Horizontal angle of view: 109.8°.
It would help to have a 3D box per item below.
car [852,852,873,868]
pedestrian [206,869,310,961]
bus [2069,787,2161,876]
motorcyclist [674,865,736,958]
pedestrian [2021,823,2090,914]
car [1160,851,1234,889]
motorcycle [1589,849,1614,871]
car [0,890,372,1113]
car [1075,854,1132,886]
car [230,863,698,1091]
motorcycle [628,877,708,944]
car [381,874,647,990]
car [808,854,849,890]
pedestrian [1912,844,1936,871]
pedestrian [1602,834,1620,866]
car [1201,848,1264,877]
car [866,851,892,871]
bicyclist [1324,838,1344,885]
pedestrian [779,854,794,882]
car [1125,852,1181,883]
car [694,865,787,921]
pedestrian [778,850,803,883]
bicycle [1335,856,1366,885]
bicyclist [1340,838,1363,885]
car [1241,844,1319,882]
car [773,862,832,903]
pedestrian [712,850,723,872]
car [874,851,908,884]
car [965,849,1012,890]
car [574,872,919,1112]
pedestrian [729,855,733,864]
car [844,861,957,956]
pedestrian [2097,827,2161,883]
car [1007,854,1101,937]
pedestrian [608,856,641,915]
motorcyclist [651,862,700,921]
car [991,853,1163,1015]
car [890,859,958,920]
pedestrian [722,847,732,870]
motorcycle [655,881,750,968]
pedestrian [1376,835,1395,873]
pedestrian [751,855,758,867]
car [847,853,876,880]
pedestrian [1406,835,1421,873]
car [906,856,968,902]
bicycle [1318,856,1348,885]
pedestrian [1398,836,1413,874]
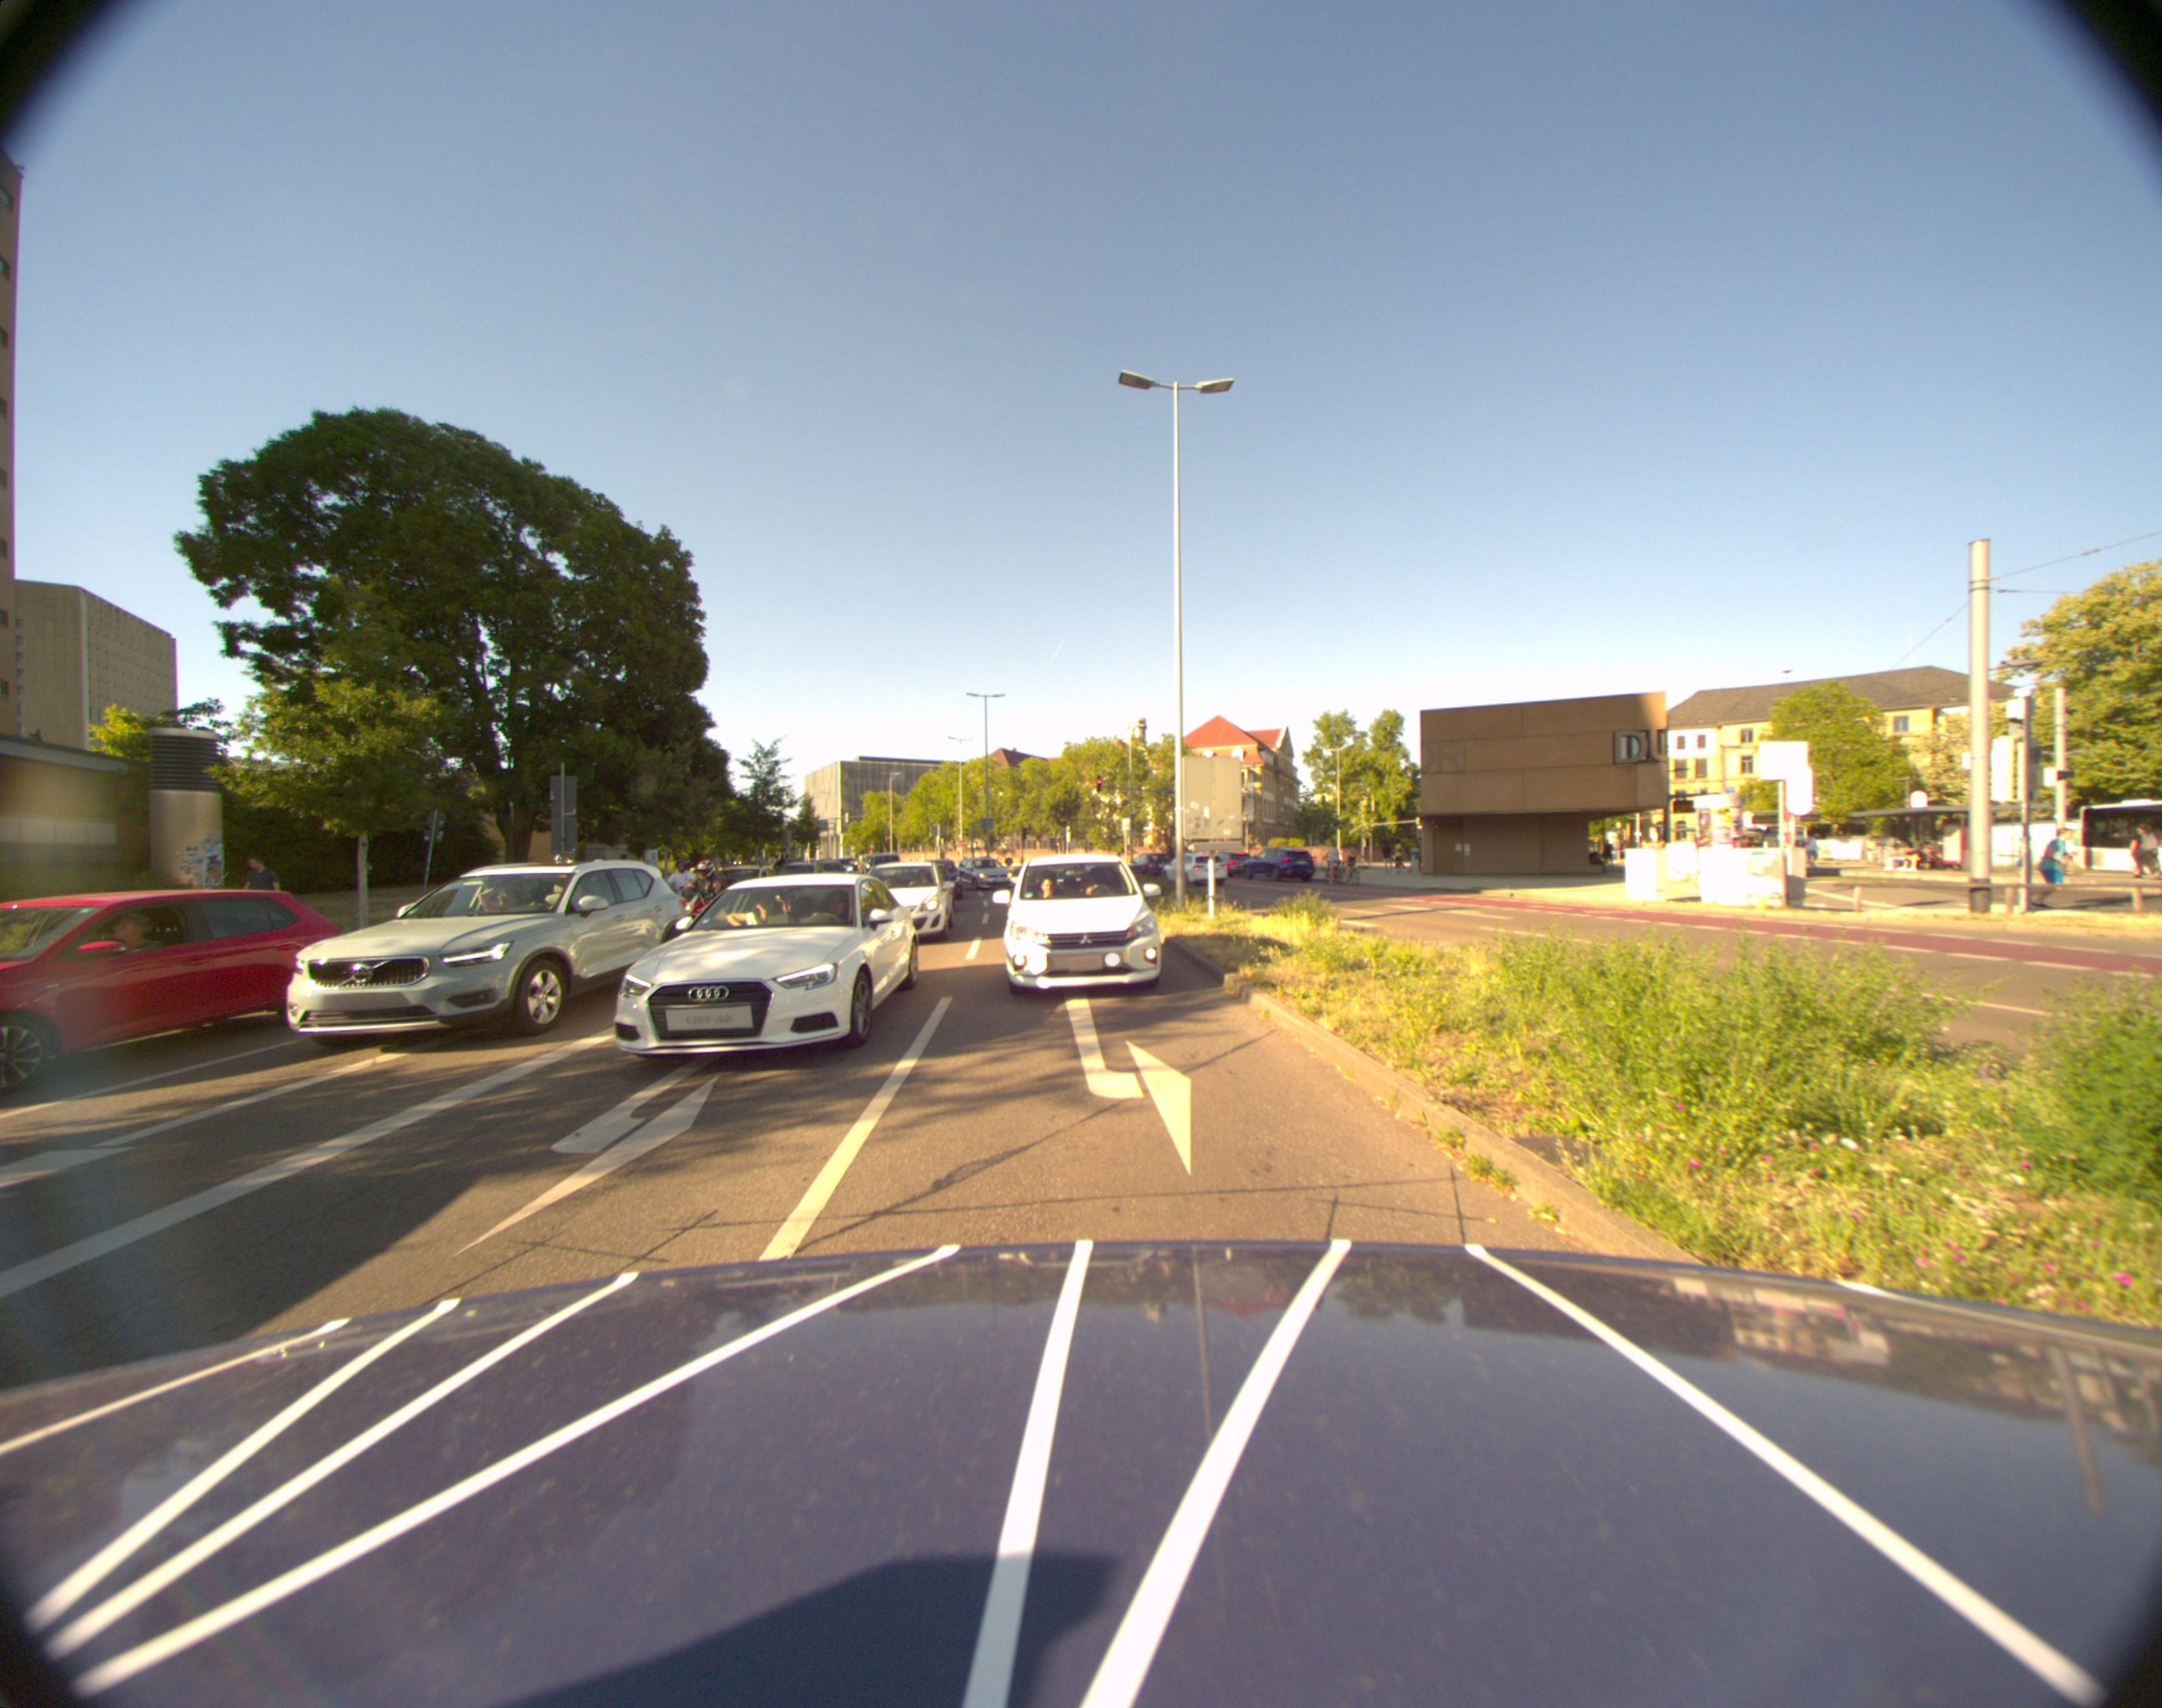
[{"bbox_3d":[-24.413,0.661,84.859,1.881,1.805,3.993,-1,0,-21],"label":"car"},{"bbox_3d":[-16.589,1.200,15.342,1.010,1.711,0.884,-3,2,-12],"label":"pedestrian"},{"bbox_3d":[38.439,-0.782,24.489,2.695,3.133,12.193,-2,1,25],"label":"bus"},{"bbox_3d":[-6.735,1.016,13.653,0.711,1.581,0.689,-3,2,-6],"label":"motorcyclist"},{"bbox_3d":[20.951,0.301,16.353,0.797,1.886,0.612,0,1,39],"label":"pedestrian"},{"bbox_3d":[5.183,0.679,34.463,1.850,1.483,4.387,-3,1,-12],"label":"car"},{"bbox_3d":[25.272,0.306,36.905,0.948,1.061,0.331,-1,2,37],"label":"motorcycle"},{"bbox_3d":[-8.882,1.205,6.650,1.628,1.451,4.040,-3,1,-3],"label":"car"},{"bbox_3d":[1.086,0.766,39.012,1.757,1.451,4.183,-3,1,-15],"label":"car"},{"bbox_3d":[-5.914,0.992,8.107,1.628,1.611,4.222,-3,1,-3],"label":"car"},{"bbox_3d":[-9.372,1.247,17.347,0.718,1.297,2.233,-3,1,-5],"label":"motorcycle"},{"bbox_3d":[-9.410,1.184,13.095,1.628,1.451,4.040,-3,1,-3],"label":"car"},{"bbox_3d":[-13.729,0.939,41.506,1.880,1.805,3.994,-1,0,-15],"label":"car"},{"bbox_3d":[38.354,0.149,34.578,0.539,1.180,0.659,-2,2,27],"label":"pedestrian"},{"bbox_3d":[34.015,-0.235,48.734,0.780,2.002,0.771,-4,2,-43],"label":"pedestrian"},{"bbox_3d":[8.332,0.445,42.180,1.851,1.483,4.387,1,0,-12],"label":"car"},{"bbox_3d":[-18.730,0.633,70.331,1.881,1.805,3.993,-1,0,-21],"label":"car"},{"bbox_3d":[10.865,0.304,32.639,0.611,2.002,0.565,-1,1,-17],"label":"bicyclist"},{"bbox_3d":[-16.787,0.800,43.265,0.596,1.585,0.594,-3,2,-10],"label":"pedestrian"},{"bbox_3d":[3.780,0.674,40.545,1.757,1.451,4.184,-3,1,-12],"label":"car"},{"bbox_3d":[-10.520,1.138,23.759,1.746,1.516,3.996,-1,0,-11],"label":"car"},{"bbox_3d":[-18.271,0.776,47.840,1.143,2.002,1.285,-3,2,-12],"label":"pedestrian"},{"bbox_3d":[11.568,0.683,32.639,0.464,1.185,1.395,-3,1,-19],"label":"bicycle"},{"bbox_3d":[11.643,0.316,32.687,0.611,2.002,0.708,-1,1,-17],"label":"bicyclist"},{"bbox_3d":[9.494,0.378,36.513,1.757,1.680,4.183,-1,1,-15],"label":"car"},{"bbox_3d":[-11.708,1.137,32.167,1.747,1.536,3.995,-1,0,-12],"label":"car"},{"bbox_3d":[-25.499,0.497,53.318,0.548,1.521,0.603,-3,2,-20],"label":"pedestrian"},{"bbox_3d":[-11.344,0.763,45.228,1.880,1.805,3.994,-1,0,-15],"label":"car"},{"bbox_3d":[-4.170,0.652,33.807,1.747,1.696,3.995,-1,0,-12],"label":"car"},{"bbox_3d":[-2.660,0.978,7.073,1.628,1.396,3.832,-3,1,-3],"label":"car"},{"bbox_3d":[-60.501,0.930,131.448,0.410,1.477,0.485,-1,1,-1],"label":"pedestrian"},{"bbox_3d":[-3.374,0.938,14.892,1.628,1.451,4.038,-3,1,-7],"label":"car"},{"bbox_3d":[32.737,0.013,23.595,1.041,1.674,1.005,-2,2,23],"label":"pedestrian"},{"bbox_3d":[-0.475,0.805,16.769,1.755,1.451,4.188,-2,1,2],"label":"car"},{"bbox_3d":[-15.005,1.035,25.000,0.464,1.875,0.696,-2,2,16],"label":"pedestrian"},{"bbox_3d":[-9.446,0.860,17.721,0.718,1.297,0.735,-3,2,-6],"label":"motorcyclist"},{"bbox_3d":[-0.145,0.776,9.443,1.628,1.451,4.040,-3,1,-3],"label":"car"},{"bbox_3d":[-4.450,0.943,21.990,1.629,1.451,4.038,-3,1,-8],"label":"car"},{"bbox_3d":[-24.974,0.342,53.605,0.548,1.597,0.603,-3,2,-20],"label":"pedestrian"},{"bbox_3d":[-6.728,1.201,13.648,0.718,1.297,2.233,-3,1,-5],"label":"motorcycle"},{"bbox_3d":[16.514,-0.024,41.183,0.777,2.002,0.773,-2,2,12],"label":"pedestrian"},{"bbox_3d":[-52.439,1.129,121.994,0.840,2.002,1.065,-3,2,-32],"label":"pedestrian"},{"bbox_3d":[-15.372,0.819,53.316,1.880,1.805,3.994,-1,0,-15],"label":"car"},{"bbox_3d":[18.066,0.000,41.239,0.655,2.002,0.469,-2,2,19],"label":"pedestrian"},{"bbox_3d":[-5.395,0.853,28.120,1.747,1.536,3.993,-1,0,-18],"label":"car"},{"bbox_3d":[10.866,0.711,32.777,0.464,1.185,1.395,-3,1,-19],"label":"bicycle"},{"bbox_3d":[17.266,0.064,40.461,0.655,2.002,0.469,-2,2,19],"label":"pedestrian"}]
